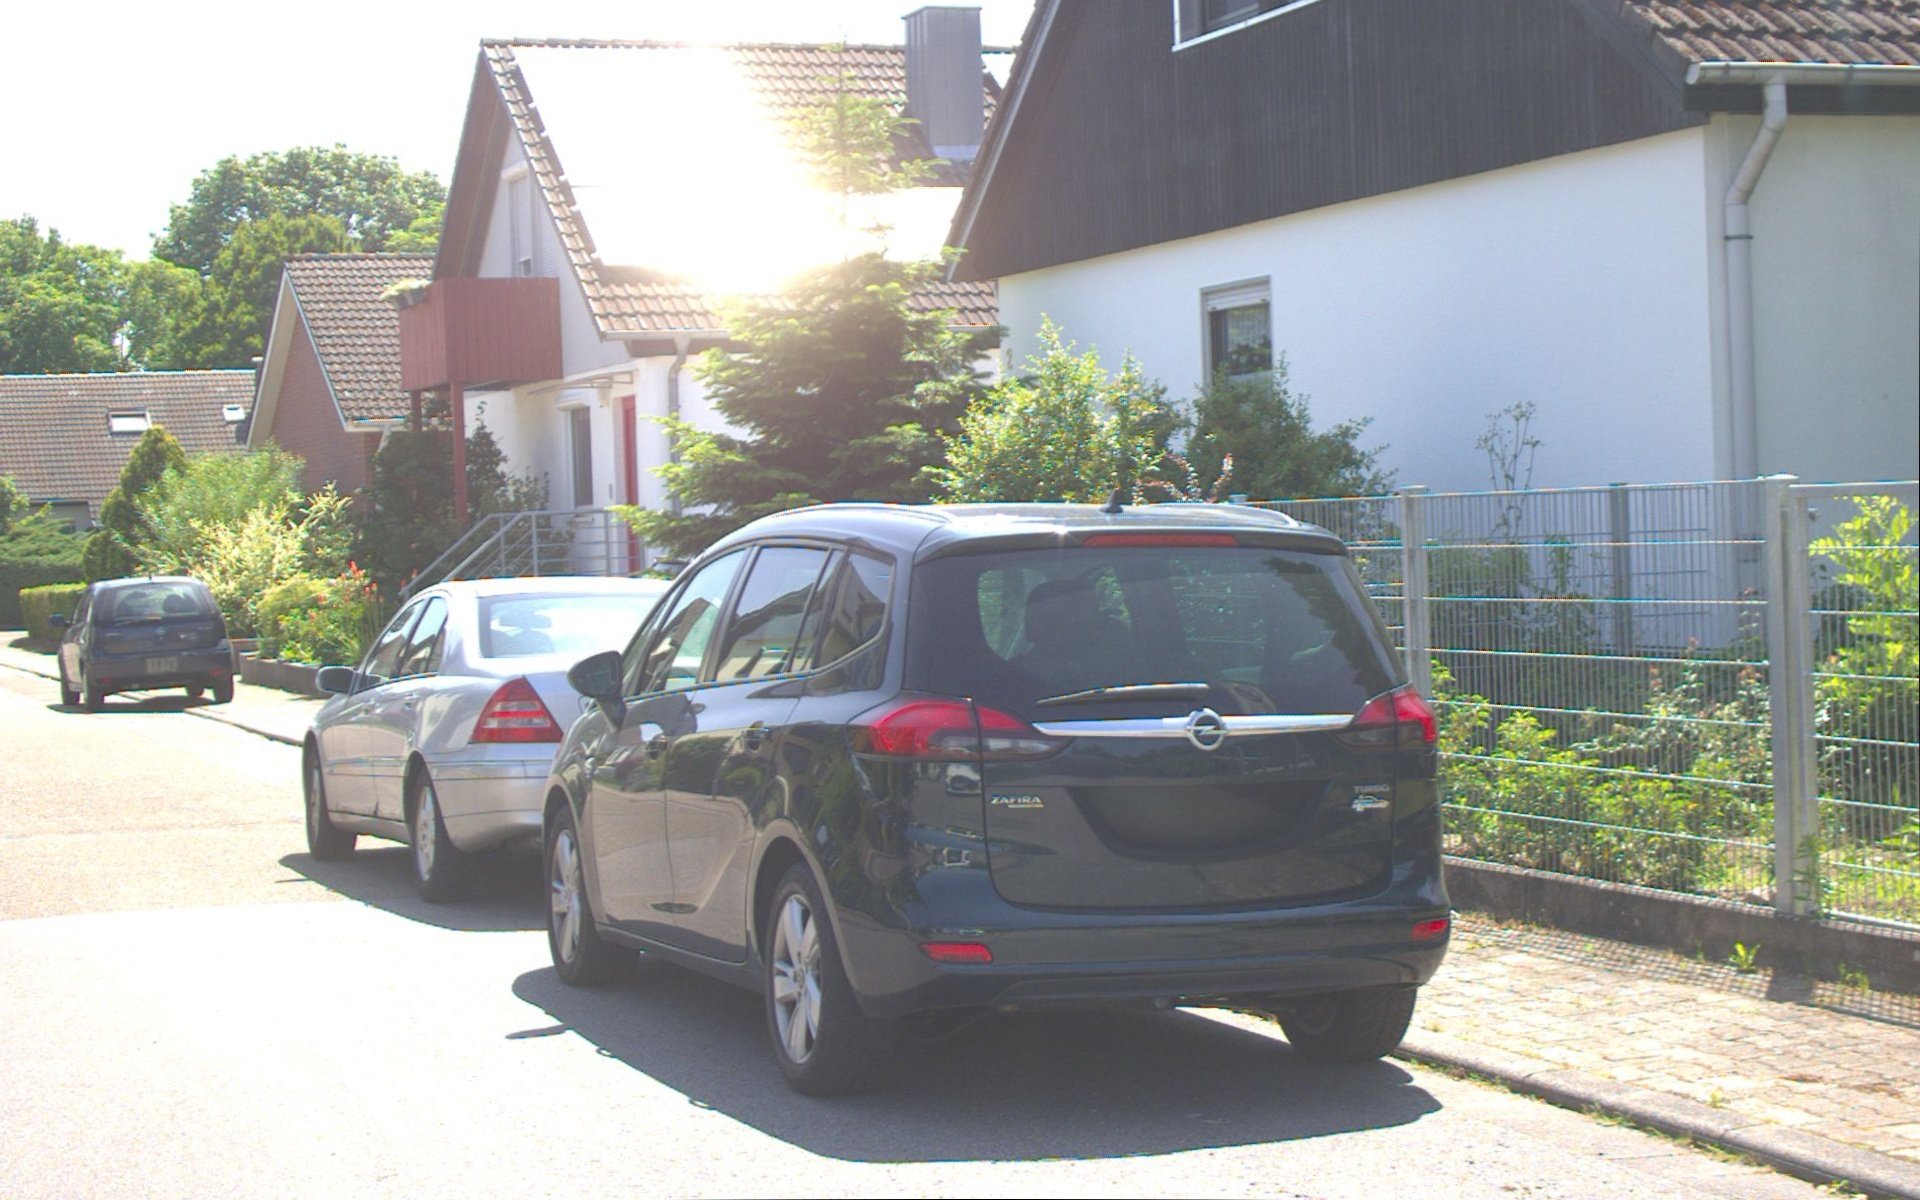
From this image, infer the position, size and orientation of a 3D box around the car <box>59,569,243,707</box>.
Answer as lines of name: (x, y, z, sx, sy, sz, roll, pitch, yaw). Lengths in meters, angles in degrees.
car: (-9.227, 0.390, 39.045, 1.650, 1.435, 3.653, -2, 1, -19)

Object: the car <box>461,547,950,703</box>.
car: (-2.569, 0.218, 34.503, 4.536, 1.391, 1.952, -2, 1, -17)

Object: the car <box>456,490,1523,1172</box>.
car: (-0.197, 0.531, 11.105, 1.962, 1.656, 4.684, -2, 2, -19)

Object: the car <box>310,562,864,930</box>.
car: (-1.929, 0.576, 16.454, 1.686, 1.455, 4.338, -2, 1, -19)
